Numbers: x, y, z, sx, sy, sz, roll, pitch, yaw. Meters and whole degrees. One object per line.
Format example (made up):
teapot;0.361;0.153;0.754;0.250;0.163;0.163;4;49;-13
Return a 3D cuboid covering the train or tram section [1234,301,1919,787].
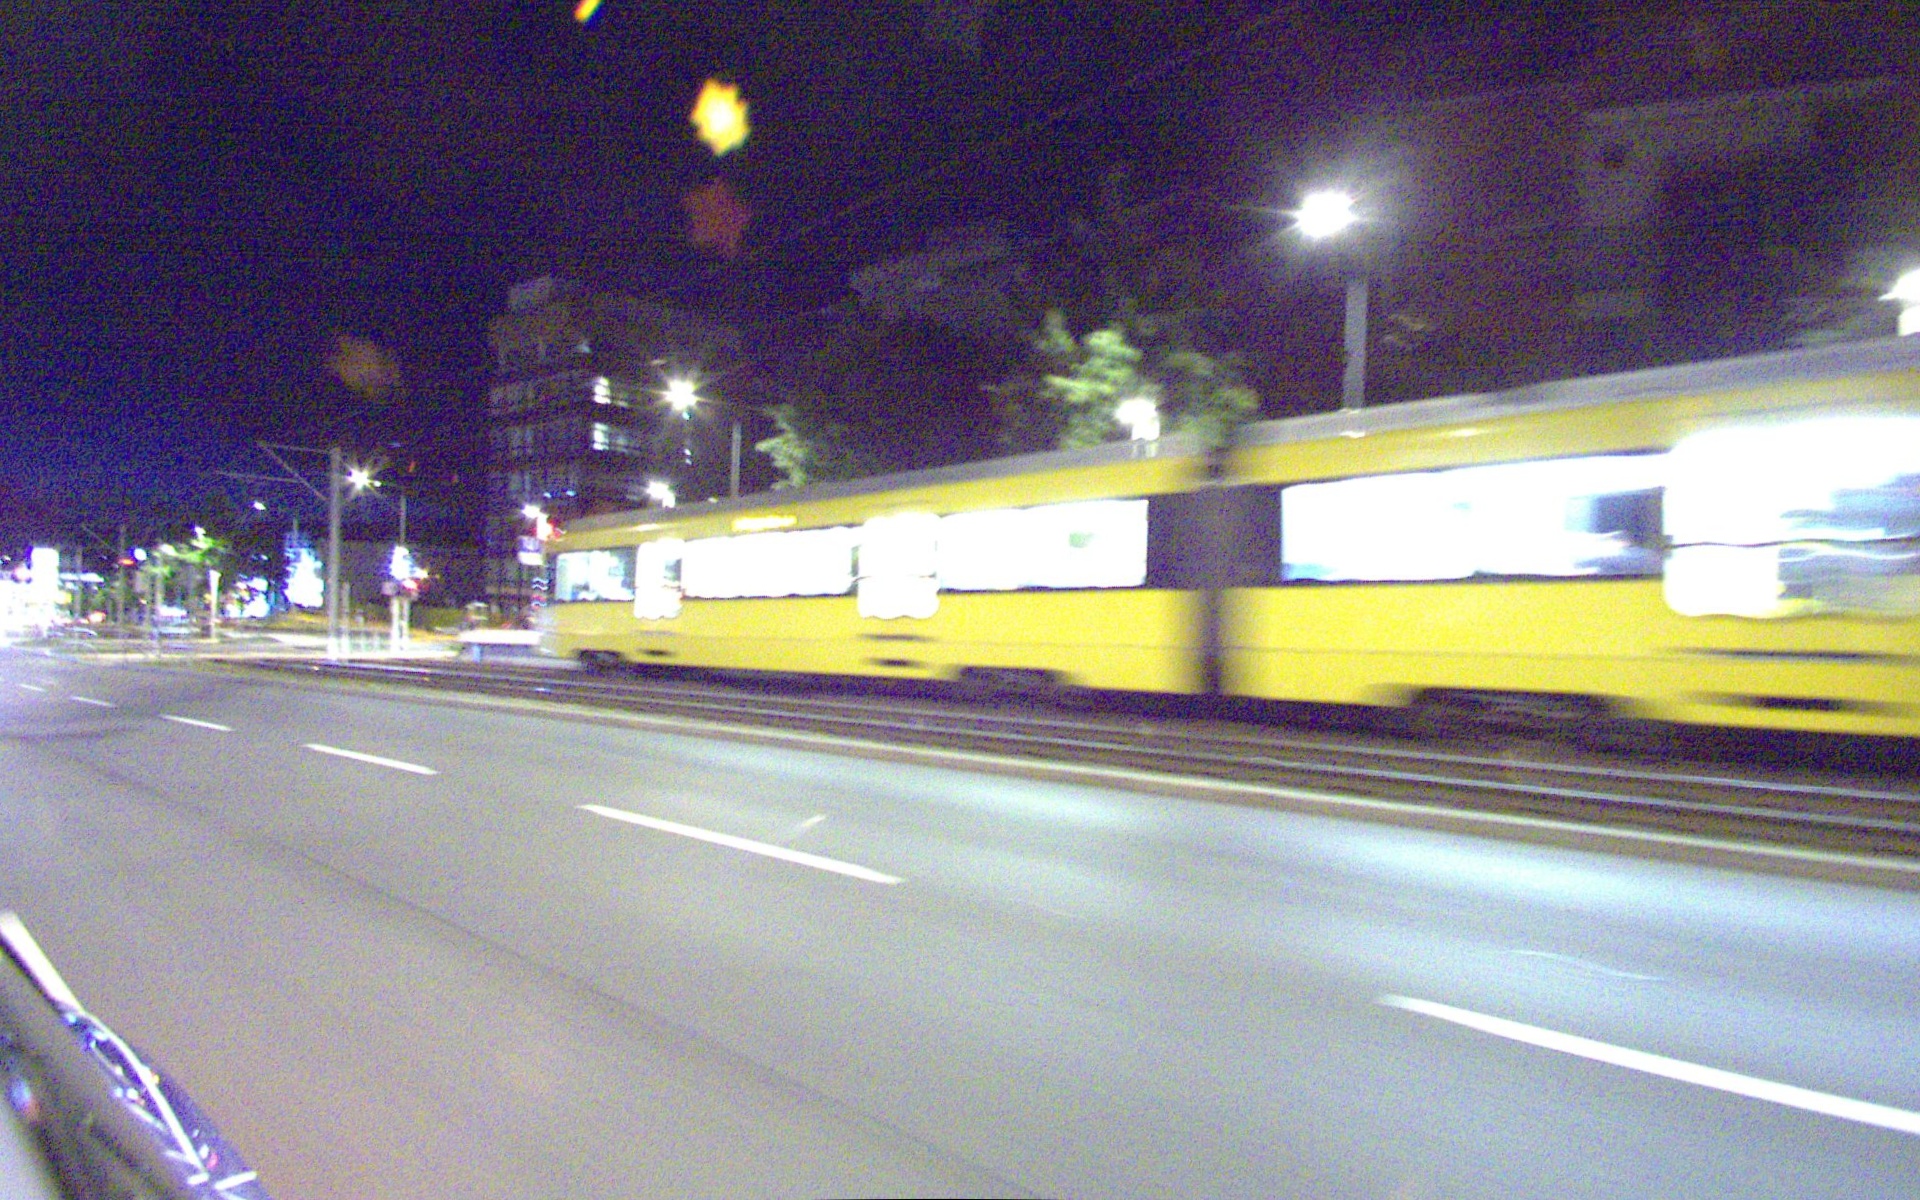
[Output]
train or tram section;11.065;-0.493;6.719;18.666;3.856;2.729;-1;-1;42

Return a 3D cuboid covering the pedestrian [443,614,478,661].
pedestrian;-18.645;1.399;37.770;1.056;1.701;0.809;-1;-3;42

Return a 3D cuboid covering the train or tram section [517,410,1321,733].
train or tram section;-3.014;-0.190;19.671;19.361;3.875;2.708;-1;-1;43
